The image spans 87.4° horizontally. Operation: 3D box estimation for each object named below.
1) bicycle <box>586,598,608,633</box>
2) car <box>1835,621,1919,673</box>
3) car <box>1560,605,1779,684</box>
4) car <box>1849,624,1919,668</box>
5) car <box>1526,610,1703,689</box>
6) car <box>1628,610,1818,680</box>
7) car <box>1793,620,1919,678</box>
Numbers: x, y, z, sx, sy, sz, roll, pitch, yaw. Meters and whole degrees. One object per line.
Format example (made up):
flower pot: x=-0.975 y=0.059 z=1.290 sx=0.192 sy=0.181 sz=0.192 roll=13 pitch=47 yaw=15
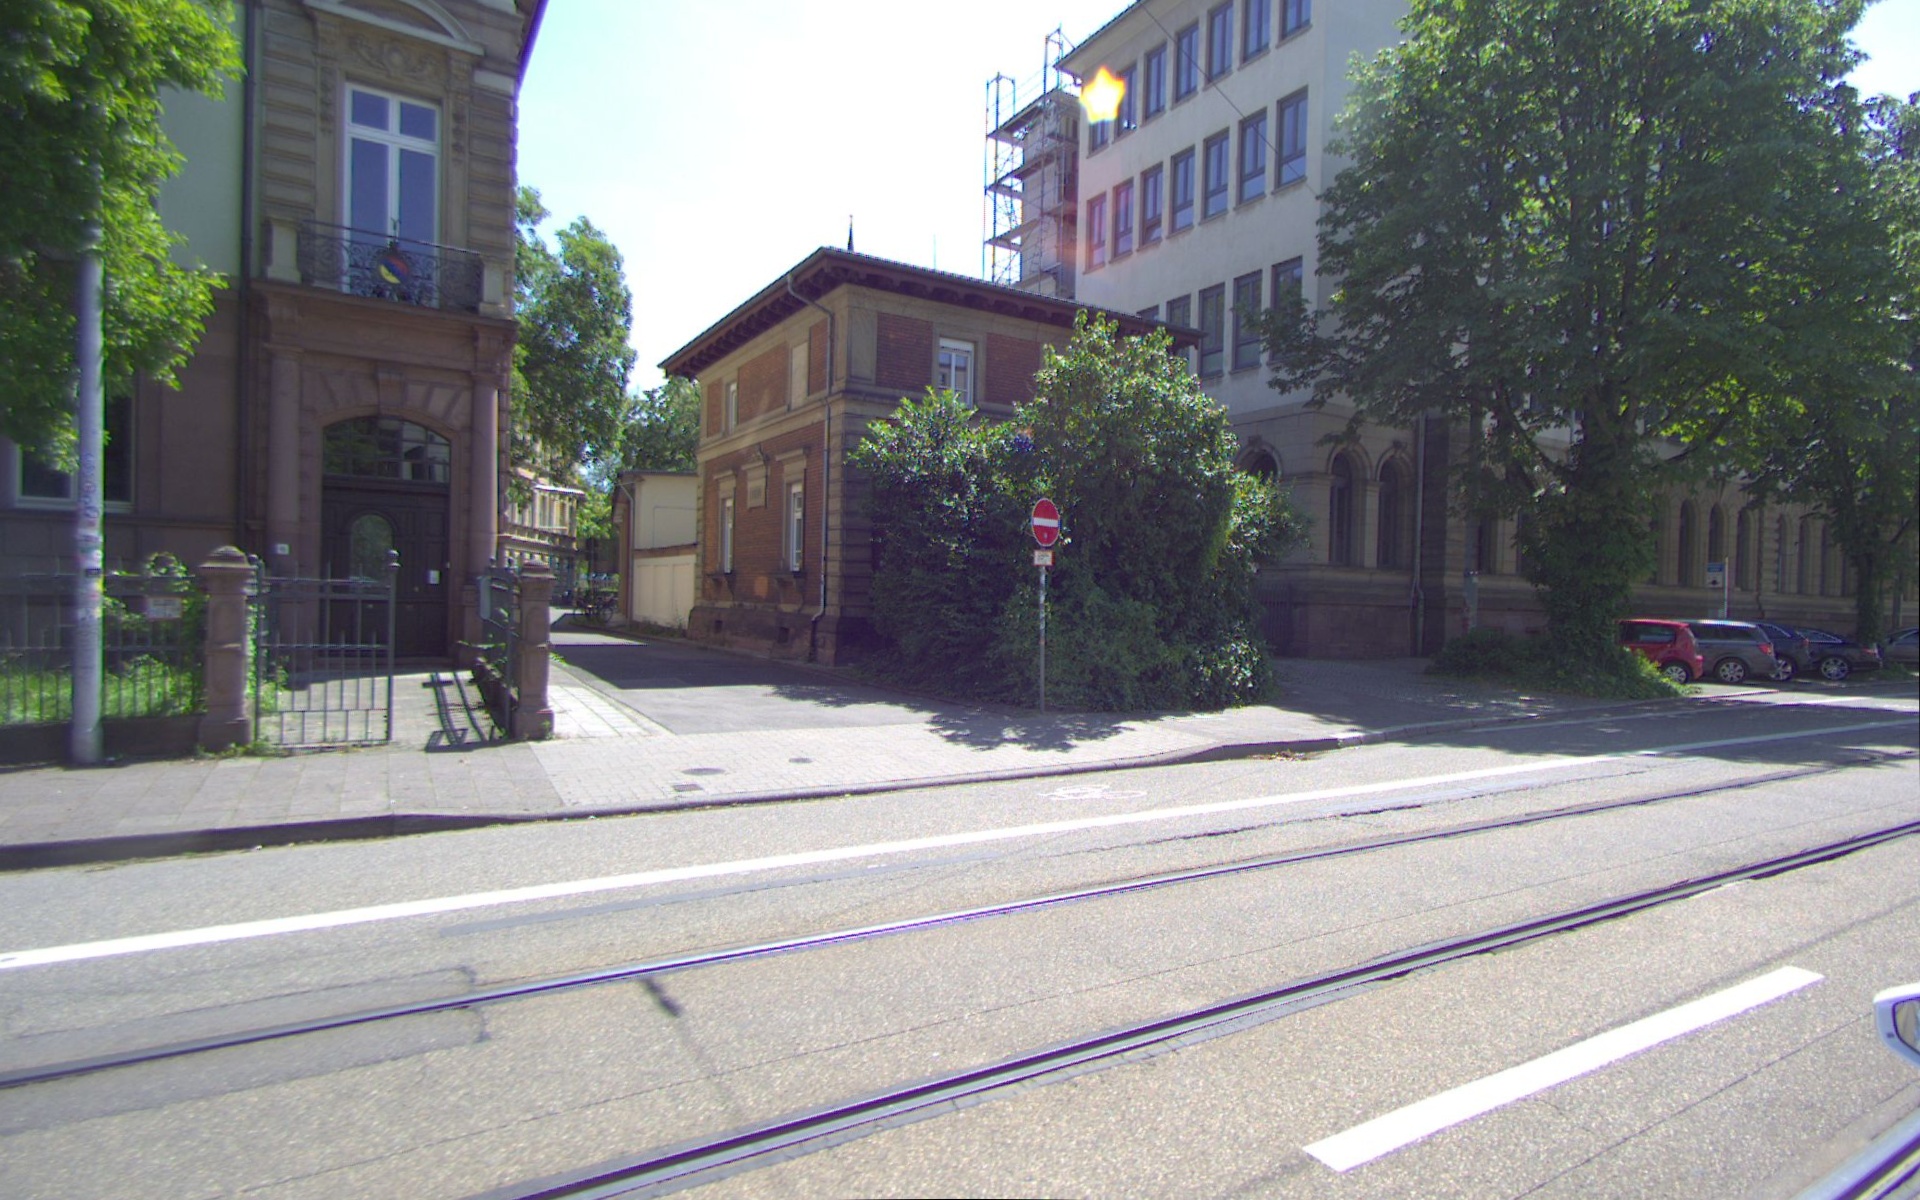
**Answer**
bicycle: x=-14.139 y=0.599 z=39.181 sx=0.774 sy=1.293 sz=2.933 roll=1 pitch=0 yaw=-19
car: x=31.890 y=1.614 z=33.606 sx=3.612 sy=1.540 sz=1.666 roll=4 pitch=2 yaw=31
car: x=17.601 y=1.055 z=25.201 sx=4.245 sy=1.606 sz=1.666 roll=4 pitch=1 yaw=30
car: x=33.776 y=1.657 z=35.285 sx=3.487 sy=1.425 sz=1.698 roll=3 pitch=1 yaw=31
car: x=15.169 y=1.088 z=23.410 sx=3.296 sy=1.536 sz=1.665 roll=3 pitch=1 yaw=34
car: x=20.083 y=1.133 z=26.658 sx=3.750 sy=1.598 sz=1.790 roll=2 pitch=1 yaw=30
car: x=24.585 y=1.289 z=26.471 sx=3.867 sy=1.392 sz=1.664 roll=2 pitch=0 yaw=34
